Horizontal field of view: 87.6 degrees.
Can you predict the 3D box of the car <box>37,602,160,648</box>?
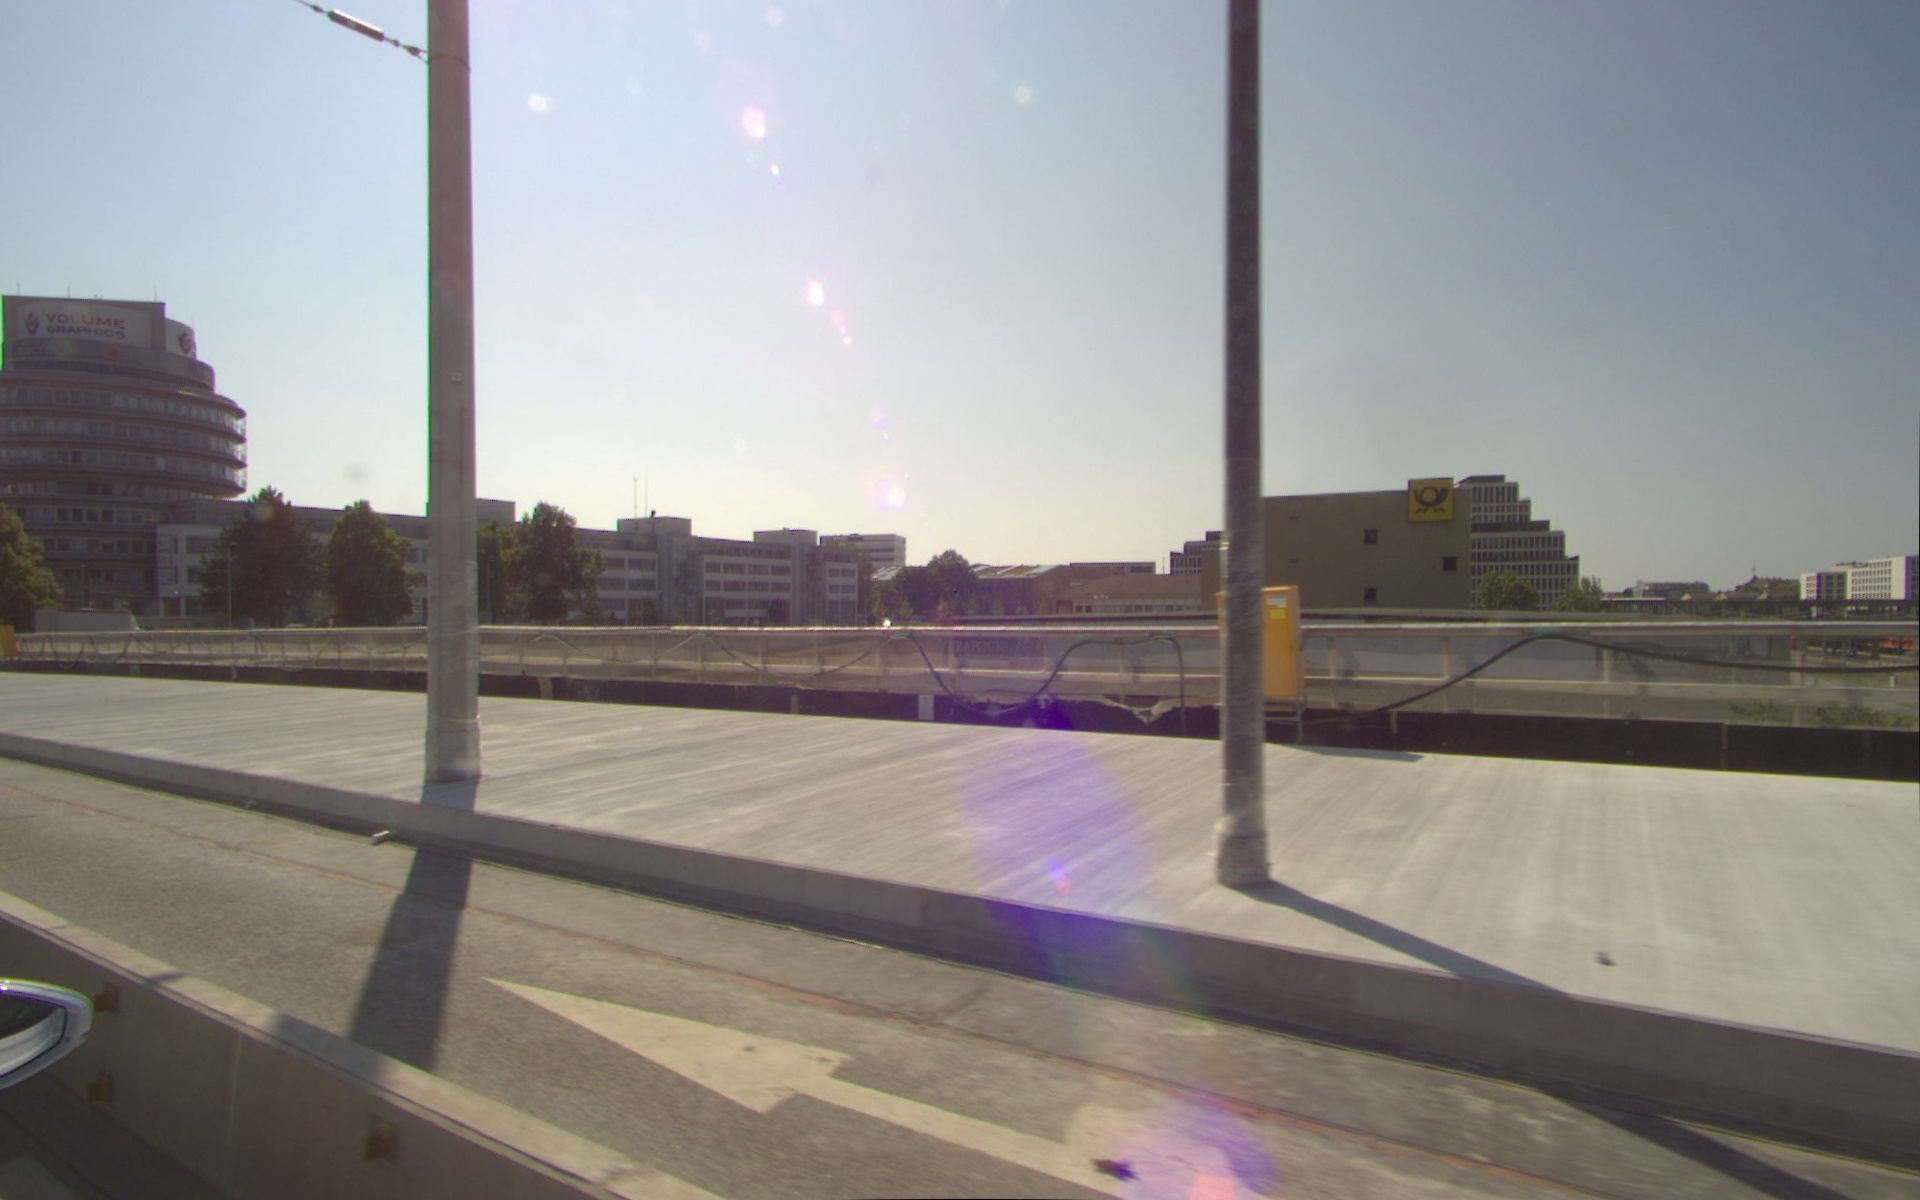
[{"bbox_3d":[-57.723,1.695,67.280,2.303,2.924,5.965,1,-1,15],"label":"car"}]
